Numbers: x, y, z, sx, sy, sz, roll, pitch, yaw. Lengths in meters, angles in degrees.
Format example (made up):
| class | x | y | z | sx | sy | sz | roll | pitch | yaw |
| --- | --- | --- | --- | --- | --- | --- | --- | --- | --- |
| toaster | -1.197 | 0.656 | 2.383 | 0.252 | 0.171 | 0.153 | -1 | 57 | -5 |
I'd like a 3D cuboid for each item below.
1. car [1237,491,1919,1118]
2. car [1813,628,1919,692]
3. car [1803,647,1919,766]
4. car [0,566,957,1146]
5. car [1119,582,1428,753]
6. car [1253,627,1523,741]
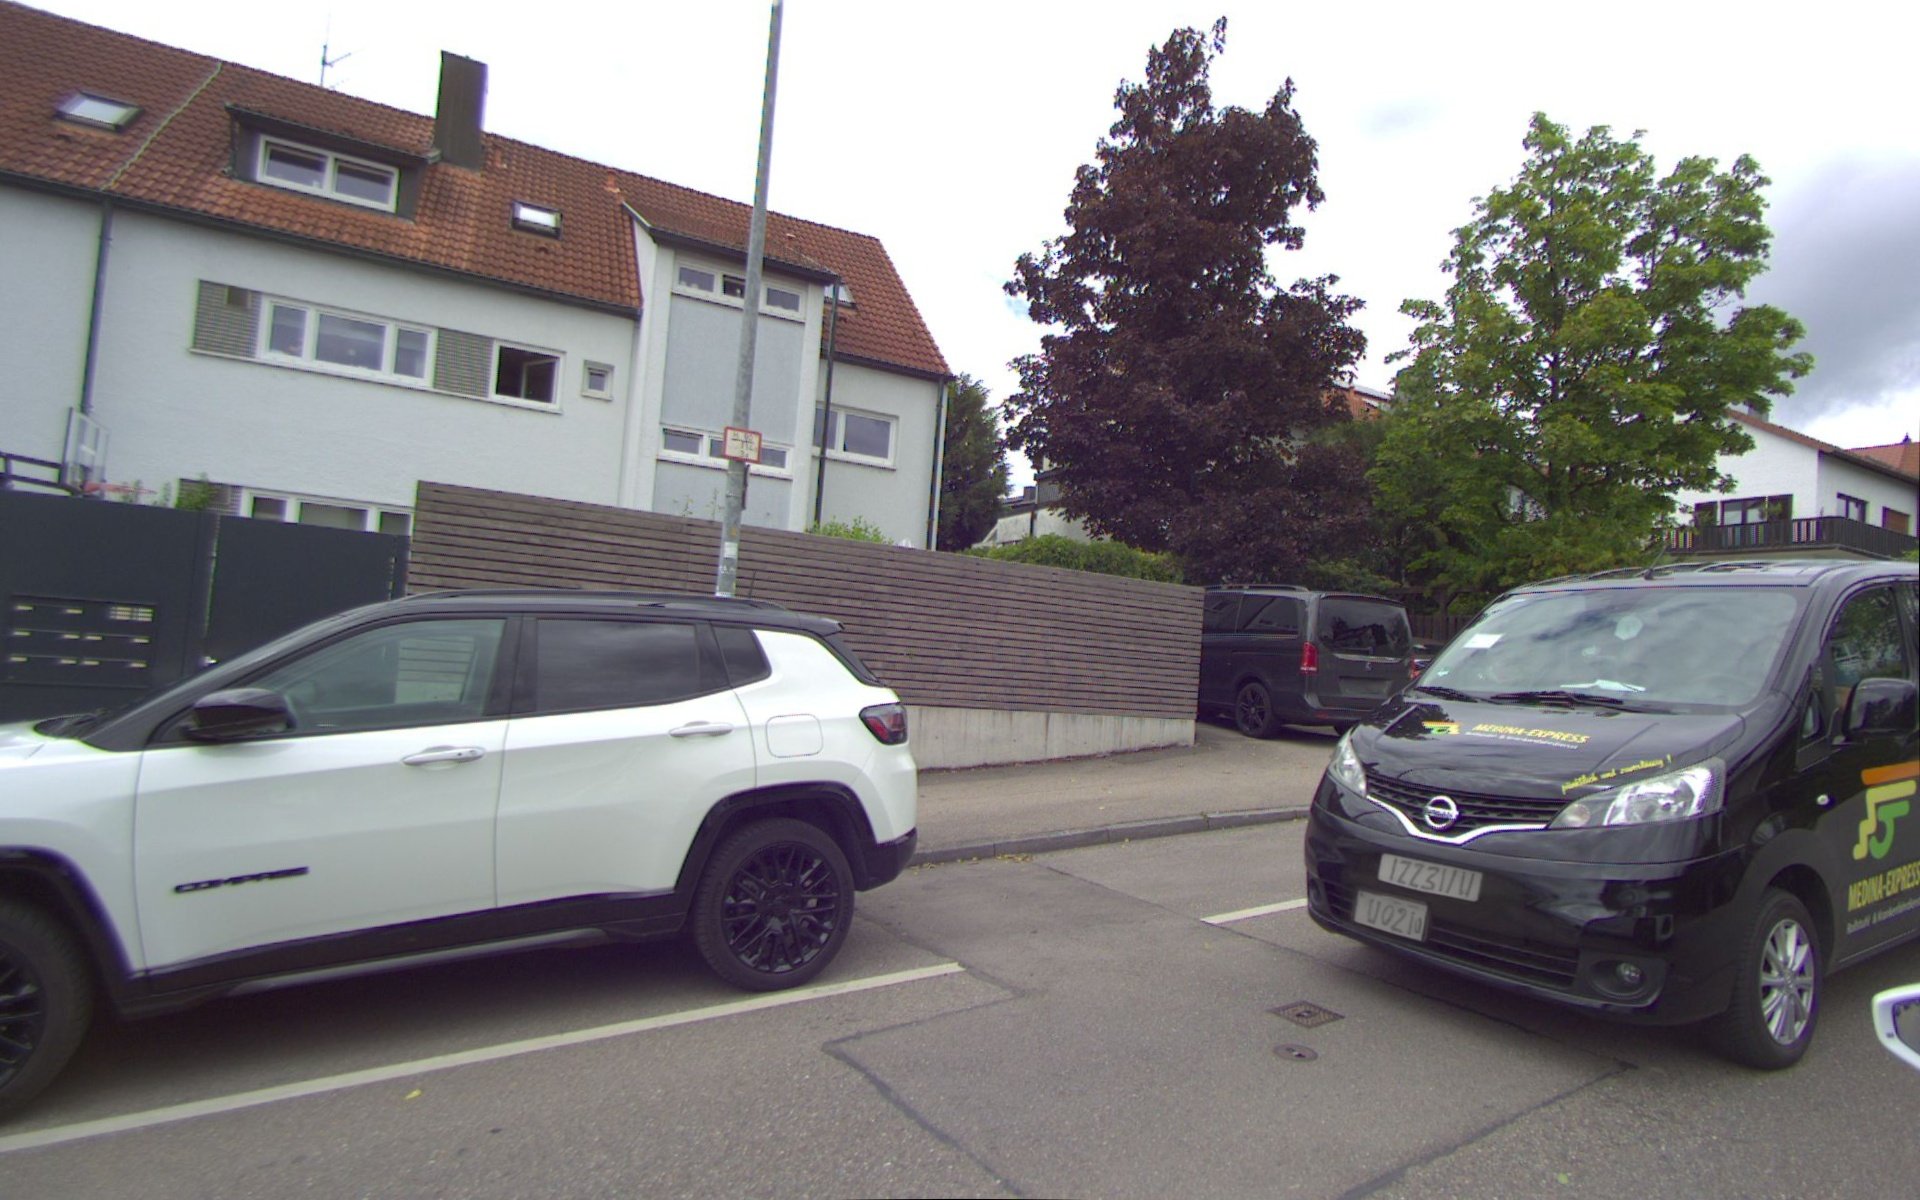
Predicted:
| class | x | y | z | sx | sy | sz | roll | pitch | yaw |
| --- | --- | --- | --- | --- | --- | --- | --- | --- | --- |
| car | 3.618 | 0.682 | 4.942 | 4.350 | 1.875 | 1.876 | 1 | -2 | -30 |
| car | 25.579 | 1.619 | 26.743 | 1.763 | 1.554 | 3.974 | 1 | 1 | -25 |
| car | 13.466 | 1.355 | 13.579 | 4.357 | 1.441 | 1.829 | 1 | -3 | -31 |
| car | -2.344 | 0.803 | 4.253 | 4.355 | 1.688 | 1.830 | 1 | -3 | -29 |
| car | 4.110 | 0.859 | 13.907 | 1.971 | 1.975 | 4.066 | 3 | -2 | -21 |
| car | 6.475 | 1.200 | 15.700 | 1.750 | 1.464 | 3.986 | 1 | -1 | -16 |
